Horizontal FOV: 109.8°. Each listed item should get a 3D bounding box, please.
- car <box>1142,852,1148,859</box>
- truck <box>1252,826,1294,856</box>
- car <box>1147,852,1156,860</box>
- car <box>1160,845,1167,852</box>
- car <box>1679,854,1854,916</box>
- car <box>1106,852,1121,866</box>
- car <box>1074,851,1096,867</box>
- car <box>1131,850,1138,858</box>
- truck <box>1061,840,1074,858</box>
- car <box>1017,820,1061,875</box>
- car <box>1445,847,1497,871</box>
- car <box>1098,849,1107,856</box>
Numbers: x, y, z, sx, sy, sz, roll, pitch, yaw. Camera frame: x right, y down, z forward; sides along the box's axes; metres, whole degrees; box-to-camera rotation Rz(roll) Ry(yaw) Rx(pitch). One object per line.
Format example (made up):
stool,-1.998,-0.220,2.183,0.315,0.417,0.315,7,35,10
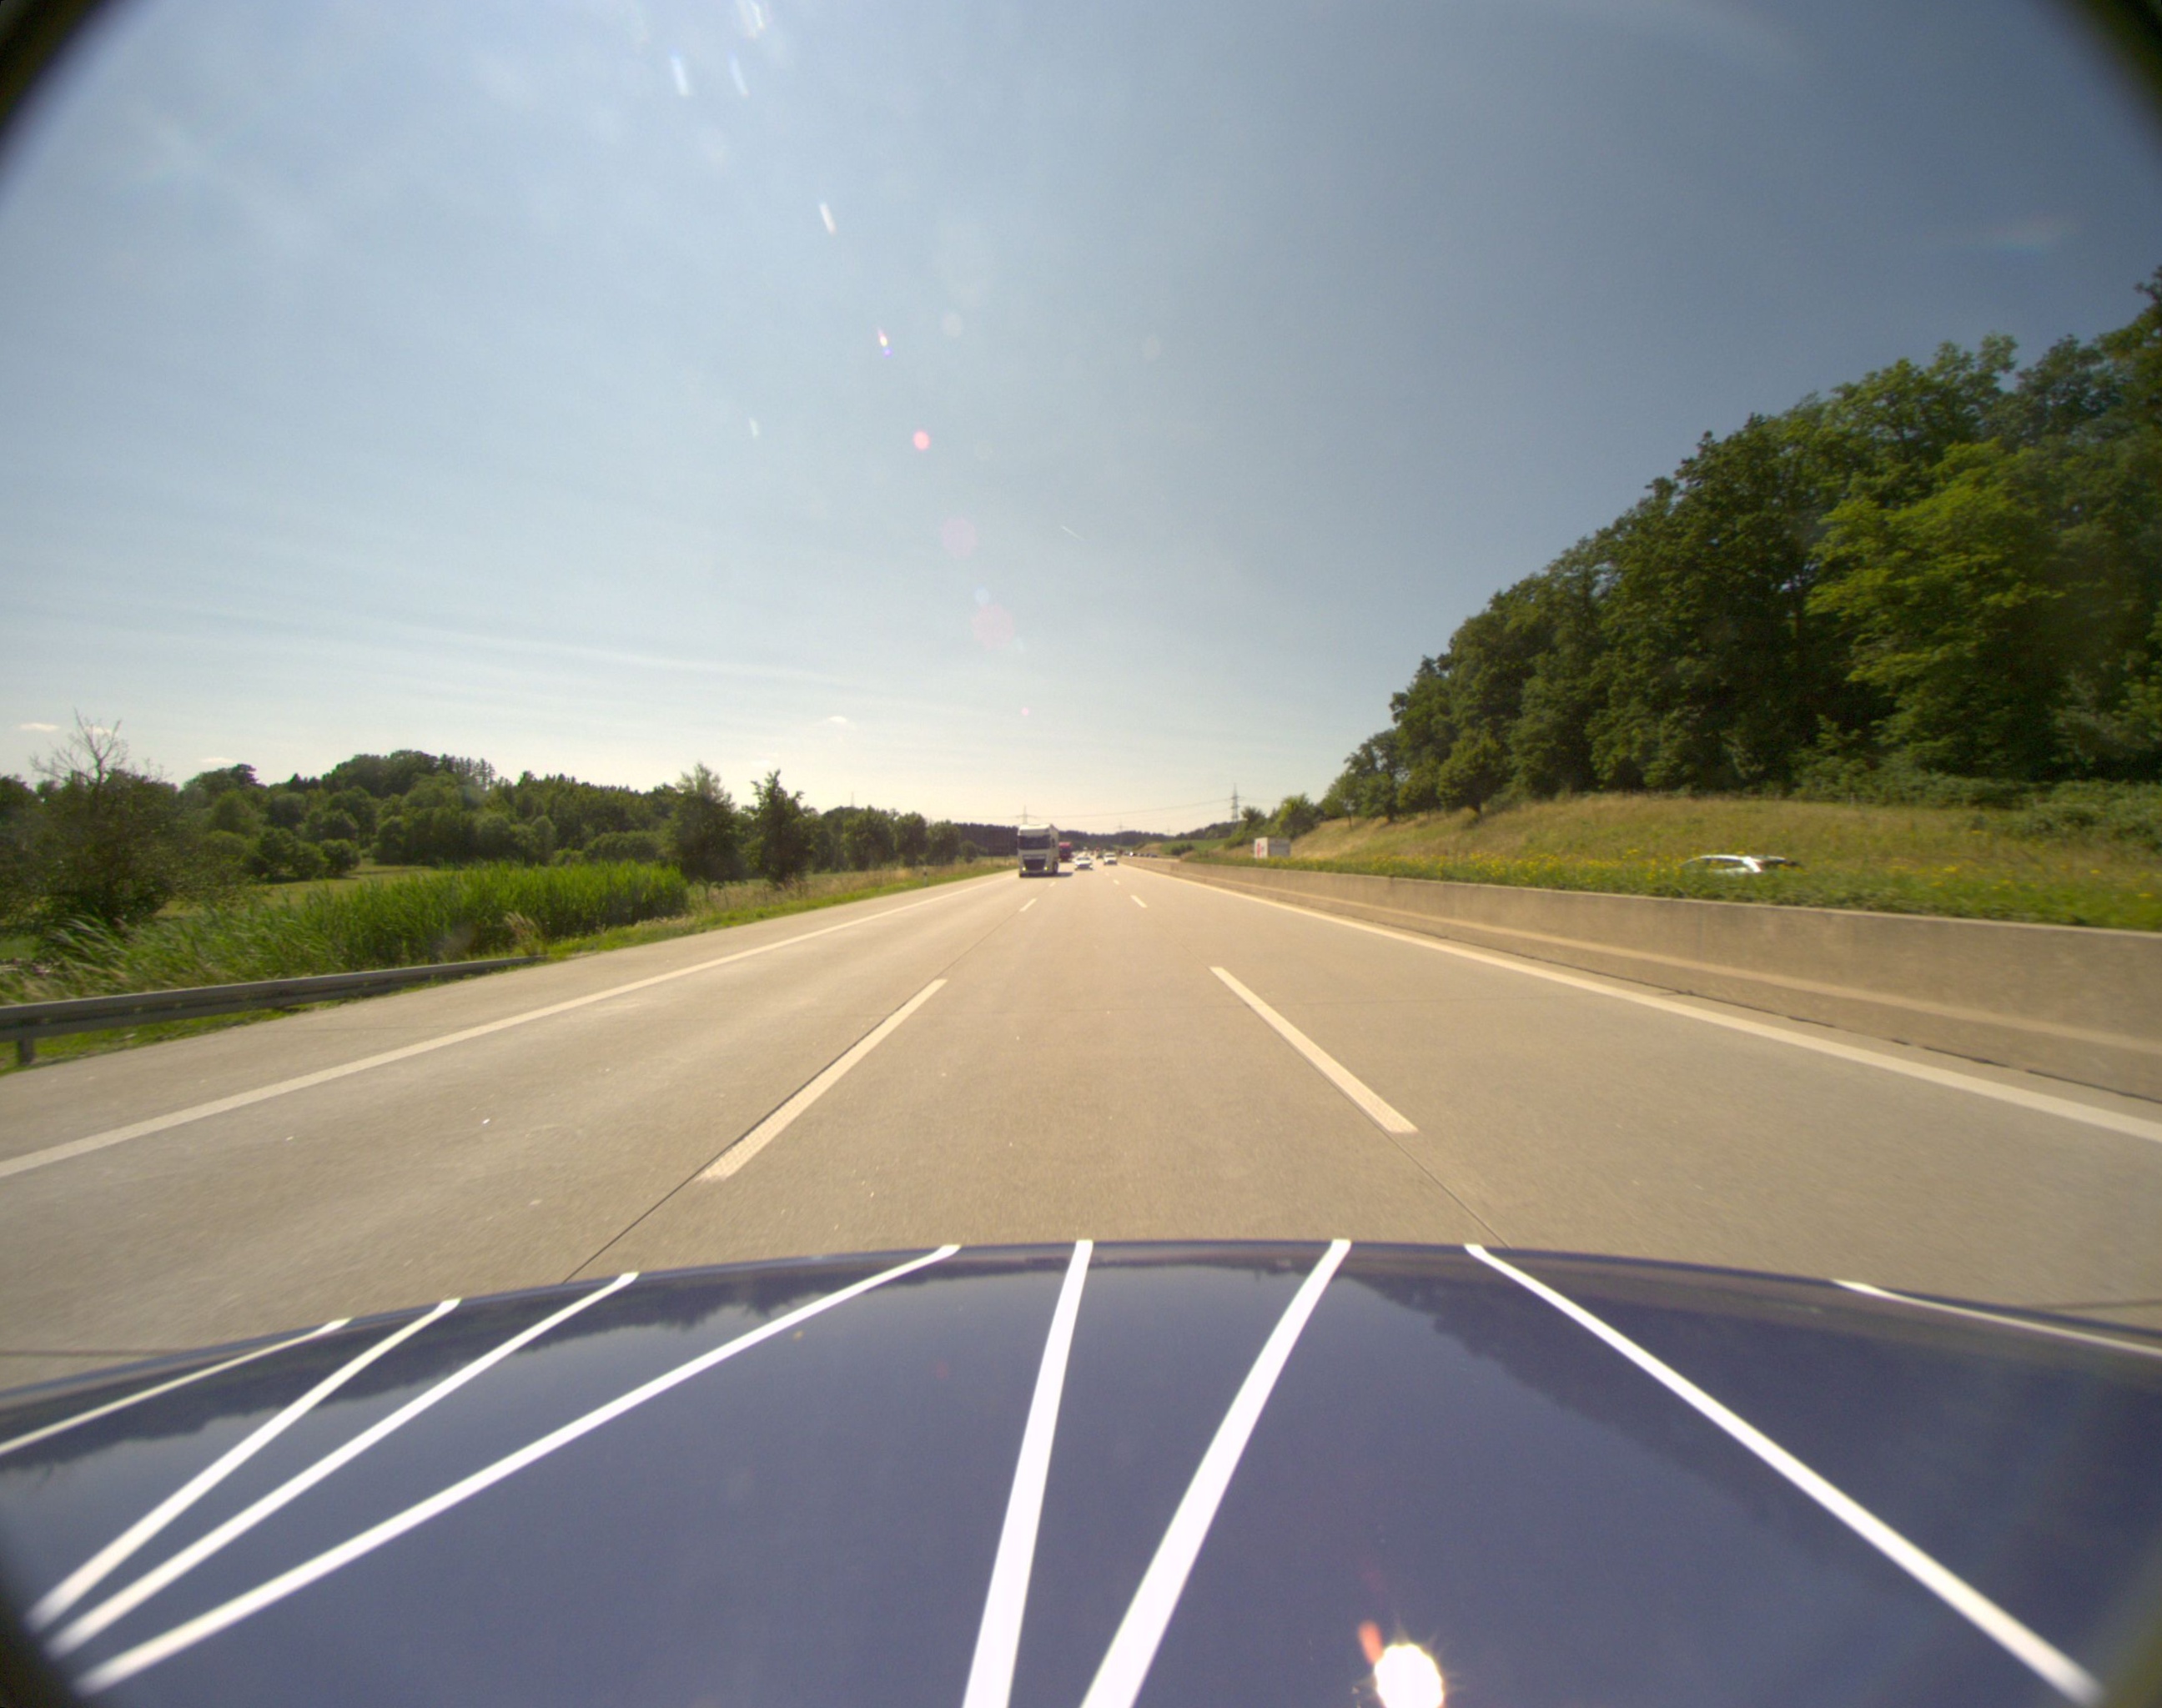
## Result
car,18.865,0.515,222.867,1.525,2.002,3.151,-2,1,1
truck,22.039,-1.495,87.752,2.902,3.333,8.258,0,1,1
car,15.115,0.363,162.965,1.525,1.647,3.151,-2,1,1
car,27.117,-1.837,249.161,1.998,2.002,3.999,-2,1,1
car,20.652,0.860,23.144,1.751,1.608,3.999,-2,1,1
car,4.470,0.704,106.589,1.850,1.698,6.035,-2,1,1
car,0.397,0.504,78.661,2.065,1.472,5.068,-5,0,0
car,14.378,-0.067,204.351,1.525,2.002,3.151,-2,1,1
truck,-2.698,-1.070,152.894,2.351,3.474,5.245,-3,1,0
car,-3.200,-0.512,61.238,2.766,4.029,10.851,-1,0,1
car,26.028,0.320,50.780,1.500,1.392,3.628,-5,0,0
car,5.547,-0.438,195.446,1.998,1.836,6.529,-3,1,1
